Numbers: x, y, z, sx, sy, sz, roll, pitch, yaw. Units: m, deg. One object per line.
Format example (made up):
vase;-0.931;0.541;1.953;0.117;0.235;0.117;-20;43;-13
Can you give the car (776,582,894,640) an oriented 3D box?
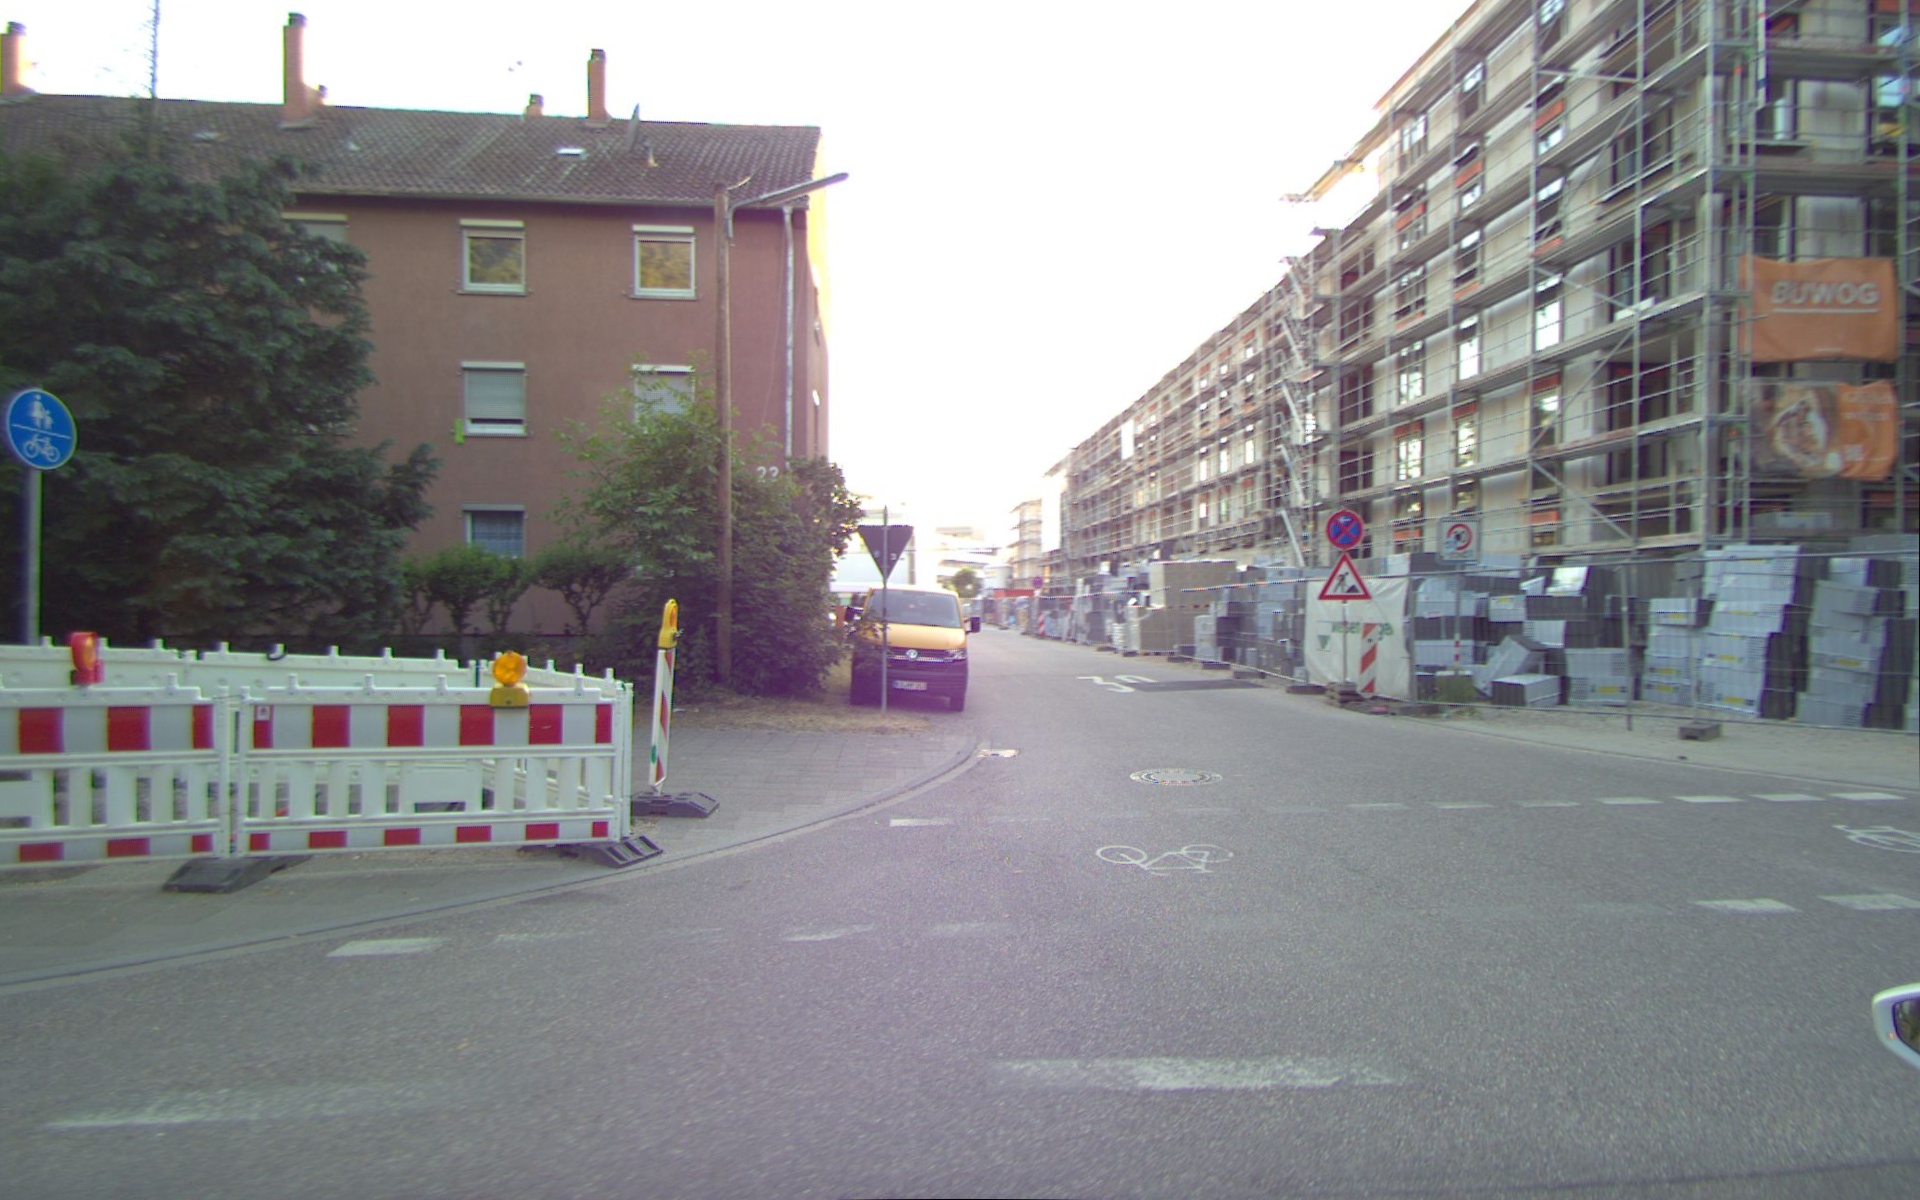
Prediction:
car;-6.133;0.545;49.873;5.597;2.661;2.221;1;0;-3

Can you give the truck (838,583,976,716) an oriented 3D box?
truck;-0.989;0.777;17.824;2.002;1.938;5.658;1;-1;-4

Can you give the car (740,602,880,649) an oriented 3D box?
car;-5.544;0.941;37.576;4.913;1.565;2.115;2;0;-2

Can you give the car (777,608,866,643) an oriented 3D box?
car;-6.037;1.105;44.081;3.777;1.448;1.726;1;0;-7
